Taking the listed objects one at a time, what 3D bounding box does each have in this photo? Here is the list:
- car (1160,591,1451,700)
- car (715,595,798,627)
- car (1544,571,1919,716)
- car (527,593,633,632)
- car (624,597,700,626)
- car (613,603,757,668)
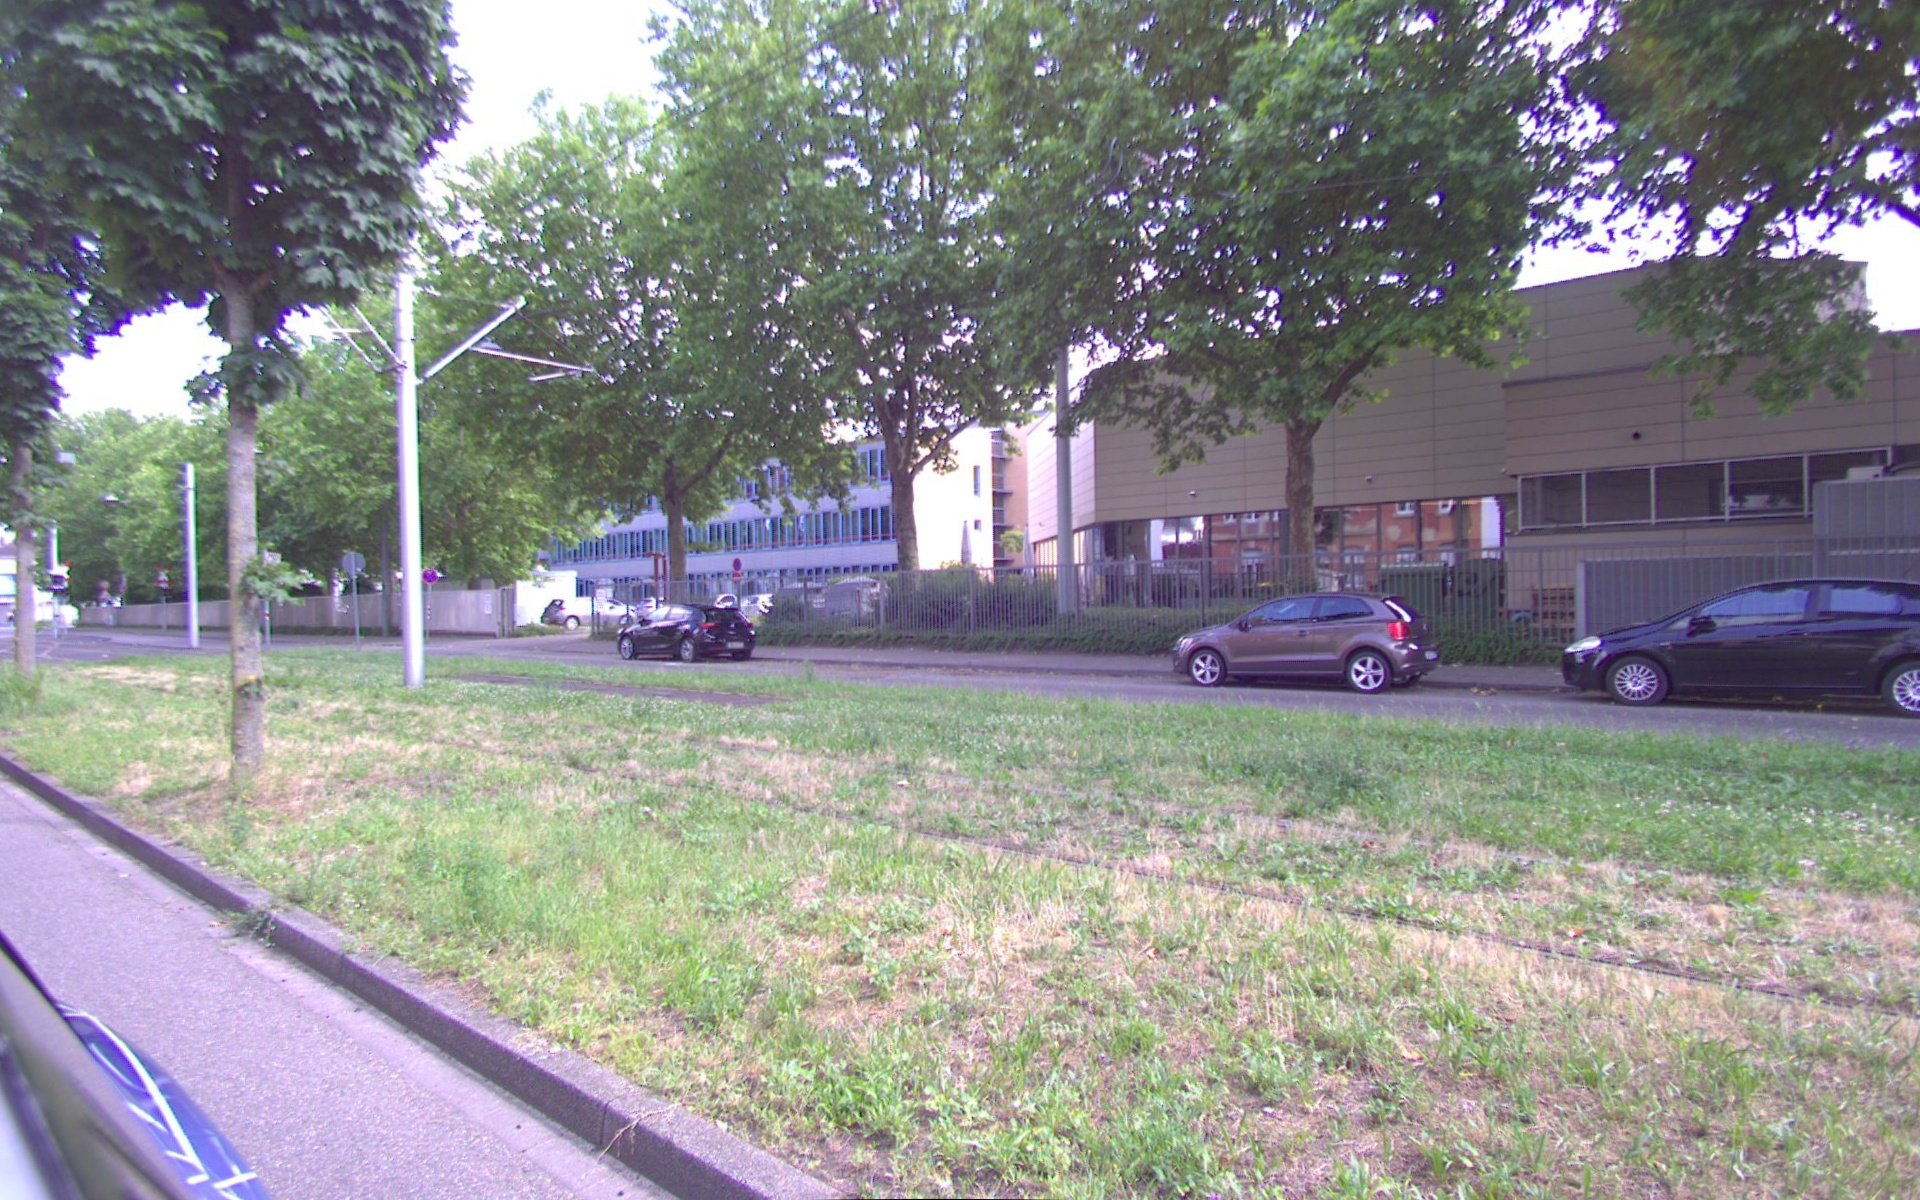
[{"bbox_3d":[5.157,0.636,15.394,3.899,1.436,1.538,-1,0,40],"label":"car"},{"bbox_3d":[-10.720,0.560,53.471,1.998,1.630,3.948,-1,0,38],"label":"car"},{"bbox_3d":[9.304,0.449,11.815,4.000,1.464,1.783,-1,0,43],"label":"car"},{"bbox_3d":[-16.832,0.526,44.959,1.998,1.630,3.948,-1,0,38],"label":"car"},{"bbox_3d":[-17.781,0.679,60.589,1.998,1.630,3.948,-1,0,38],"label":"car"},{"bbox_3d":[-6.986,0.865,25.510,3.999,1.475,1.580,-1,0,42],"label":"car"}]
